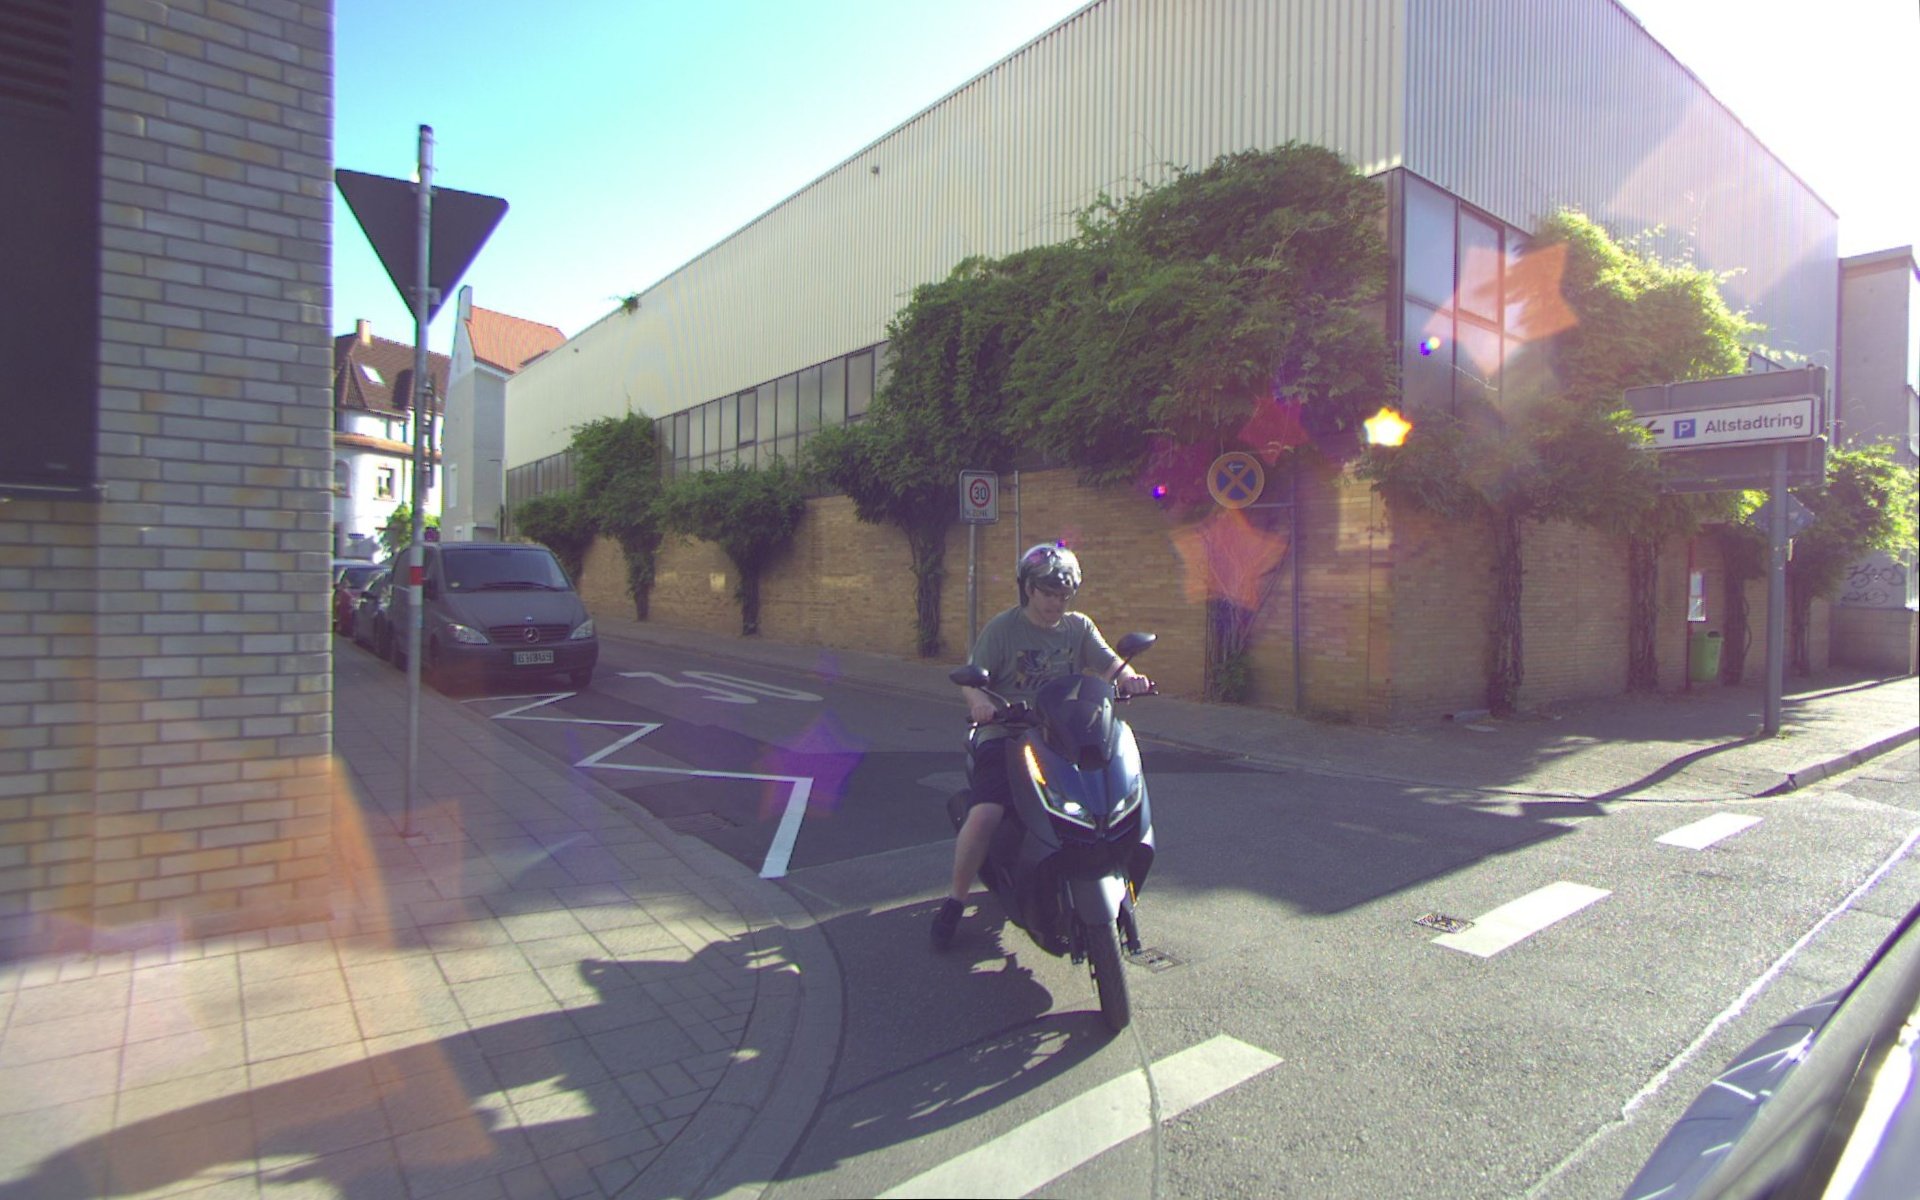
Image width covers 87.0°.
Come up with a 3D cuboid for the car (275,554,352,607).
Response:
[{"bbox_3d":[-21.938,-0.700,34.257,1.829,1.672,4.456,0,2,-37],"label":"car"}]

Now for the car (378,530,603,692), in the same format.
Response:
[{"bbox_3d":[-6.547,-0.005,13.810,1.829,1.802,4.621,0,4,-37],"label":"car"}]

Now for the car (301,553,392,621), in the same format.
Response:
[{"bbox_3d":[-15.886,-0.379,26.115,1.633,1.621,3.670,0,2,-37],"label":"car"}]

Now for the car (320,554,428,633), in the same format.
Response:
[{"bbox_3d":[-13.088,-0.188,22.515,1.633,1.597,3.628,0,2,-37],"label":"car"}]

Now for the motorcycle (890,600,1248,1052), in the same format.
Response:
[{"bbox_3d":[0.282,0.702,4.359,0.877,1.296,2.347,-1,2,-11],"label":"motorcycle"}]

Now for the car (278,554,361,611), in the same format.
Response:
[{"bbox_3d":[-20.197,-0.593,31.828,1.829,1.672,4.456,0,2,-37],"label":"car"}]

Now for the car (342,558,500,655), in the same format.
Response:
[{"bbox_3d":[-9.656,0.017,17.944,1.797,1.496,4.399,-1,2,-37],"label":"car"}]

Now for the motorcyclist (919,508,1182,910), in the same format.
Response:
[{"bbox_3d":[0.338,0.394,4.269,0.877,1.491,0.881,-1,0,-11],"label":"motorcyclist"}]

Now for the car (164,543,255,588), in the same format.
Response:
[{"bbox_3d":[-40.290,-1.859,54.279,5.560,2.335,1.991,2,2,31],"label":"car"}]
